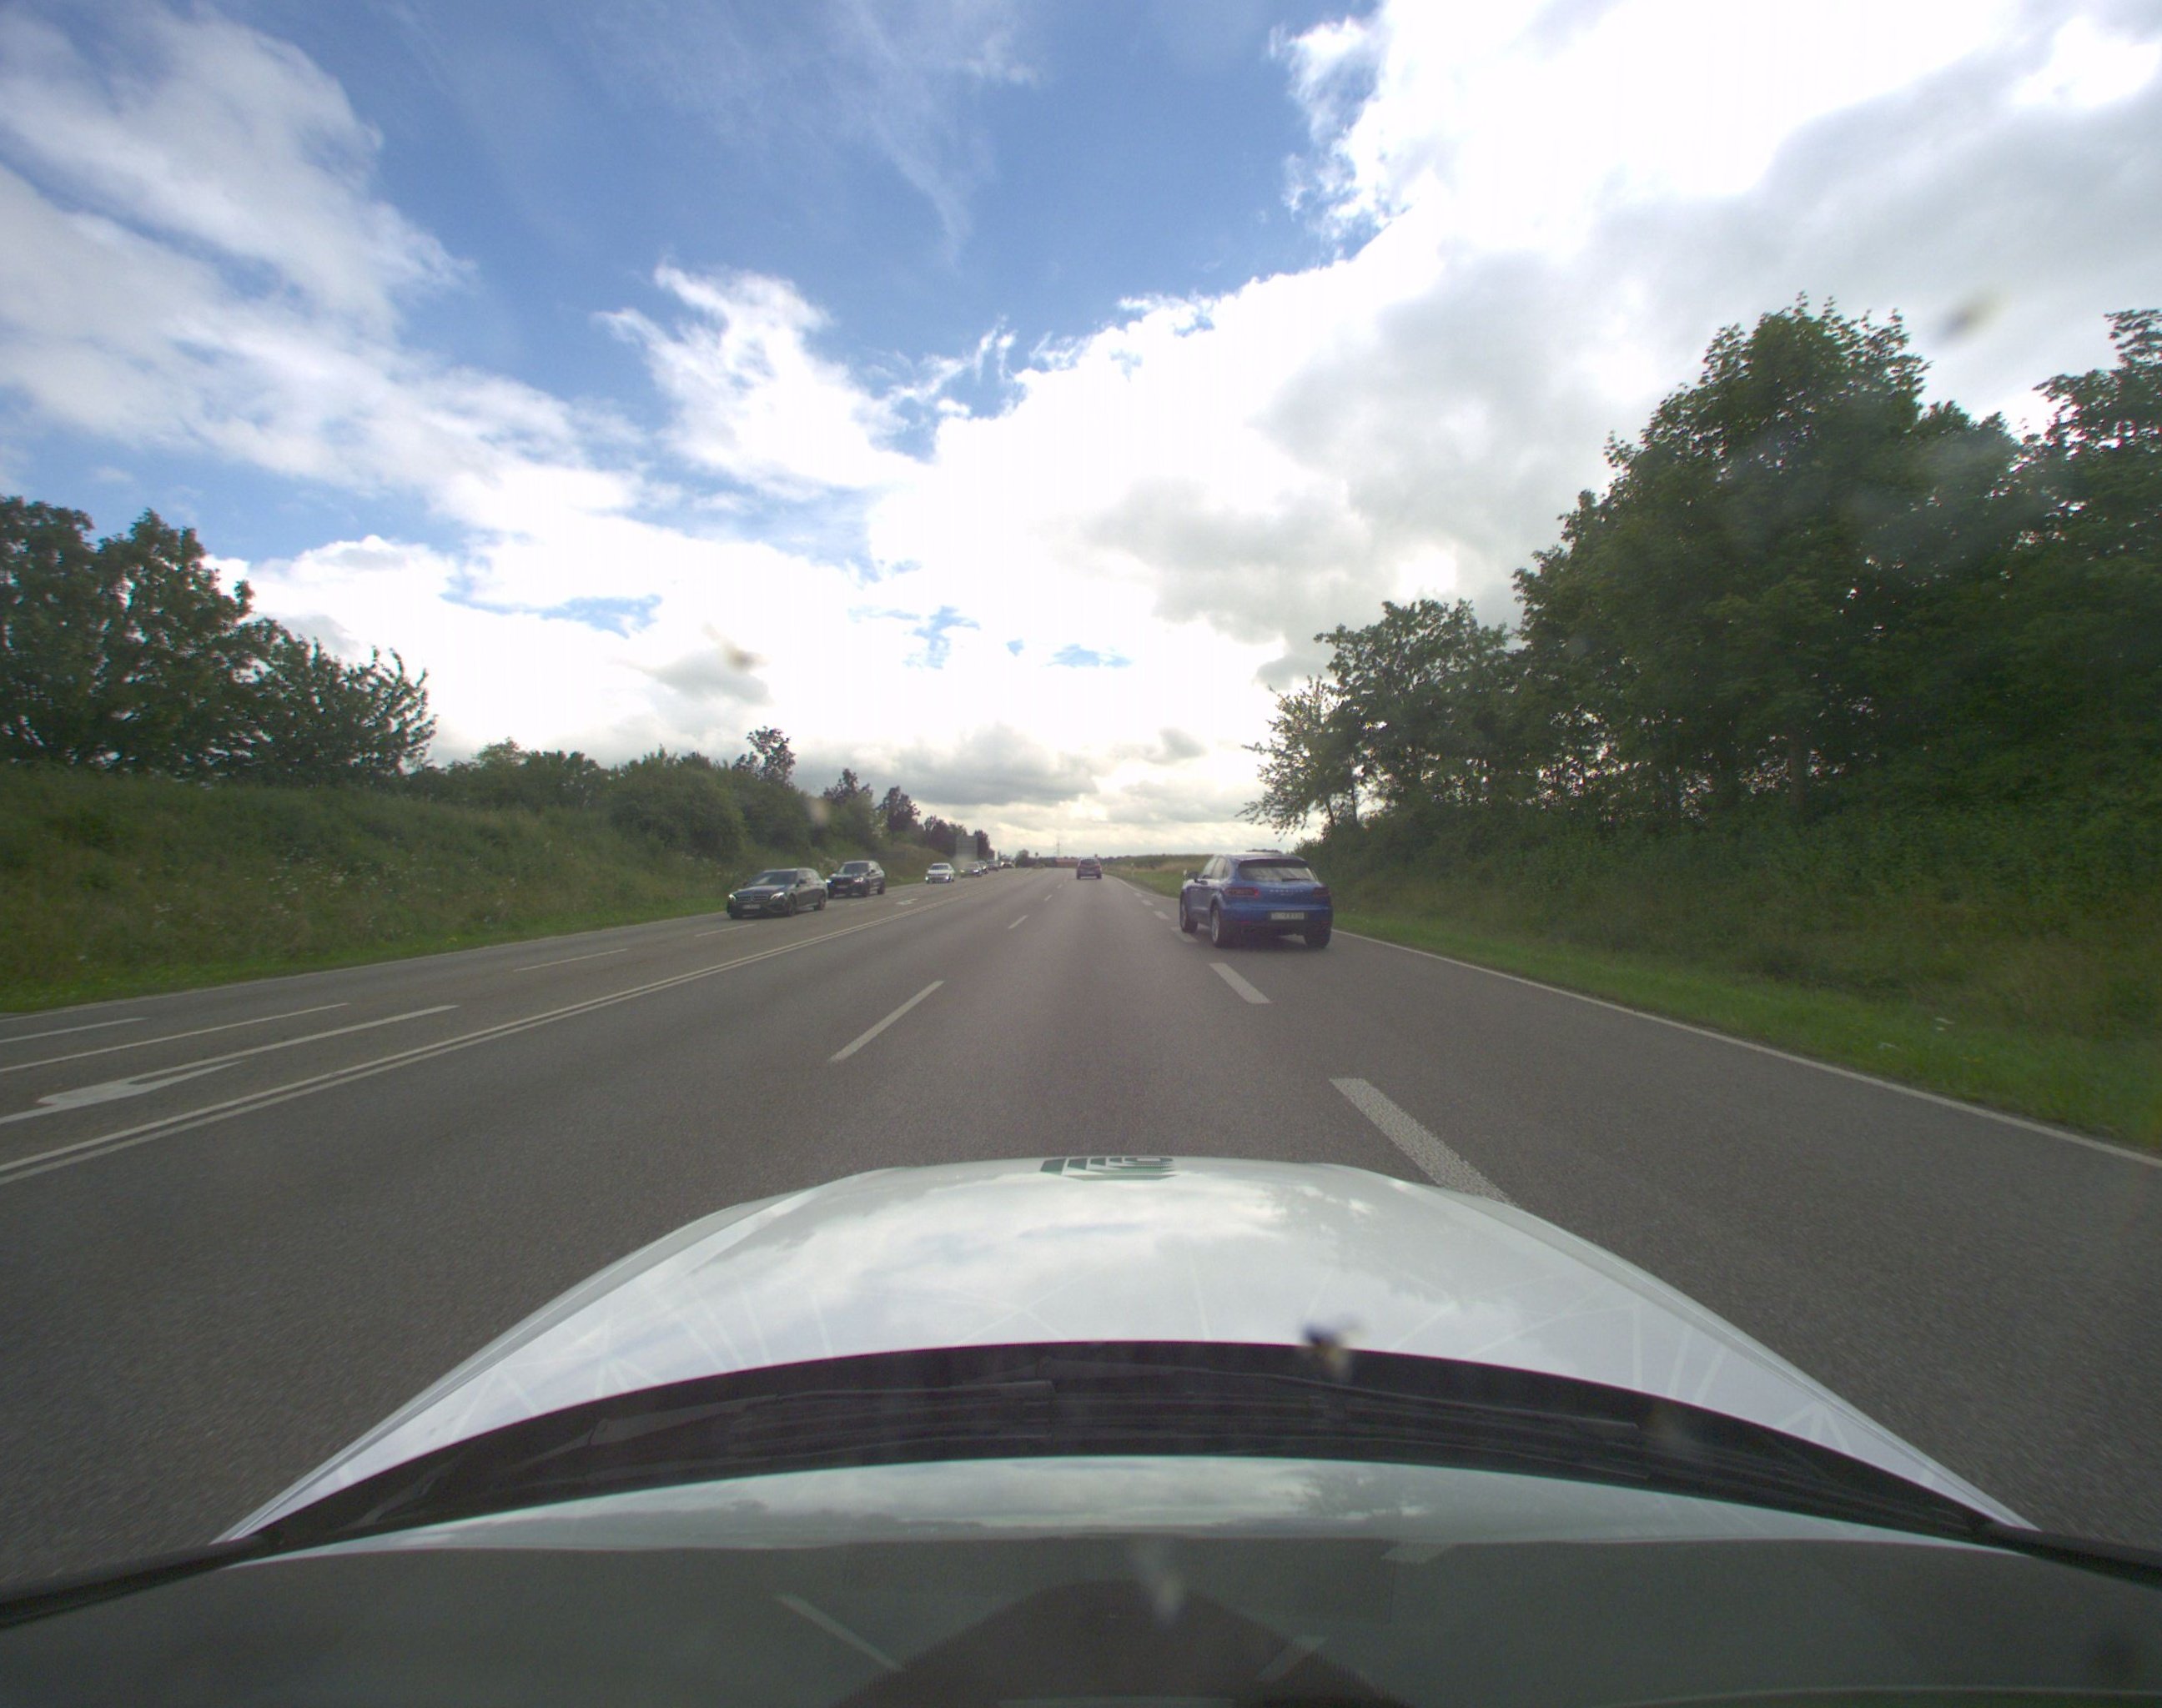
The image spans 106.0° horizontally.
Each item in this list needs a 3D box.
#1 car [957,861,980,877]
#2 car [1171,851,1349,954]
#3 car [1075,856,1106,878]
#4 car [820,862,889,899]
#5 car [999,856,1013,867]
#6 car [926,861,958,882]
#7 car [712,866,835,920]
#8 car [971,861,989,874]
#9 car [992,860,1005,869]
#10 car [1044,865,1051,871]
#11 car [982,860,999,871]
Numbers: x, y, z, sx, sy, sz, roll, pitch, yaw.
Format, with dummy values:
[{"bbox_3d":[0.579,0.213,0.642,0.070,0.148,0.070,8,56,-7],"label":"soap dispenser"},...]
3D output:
[{"bbox_3d":[-11.033,1.418,79.893,1.990,1.508,3.993,-1,0,-5],"label":"car"},{"bbox_3d":[3.093,0.779,15.208,1.989,1.570,4.750,-1,0,-3],"label":"car"},{"bbox_3d":[0.629,0.910,58.411,1.989,1.535,3.995,0,0,-3],"label":"car"},{"bbox_3d":[-10.801,1.213,39.174,1.988,1.610,4.989,-1,0,-1],"label":"car"},{"bbox_3d":[-15.229,1.545,165.544,2.358,2.211,5.917,-2,0,-2],"label":"car"},{"bbox_3d":[-10.470,1.293,61.528,1.662,1.442,4.146,-1,0,1],"label":"car"},{"bbox_3d":[-9.770,1.189,26.381,1.987,1.494,4.993,-1,0,1],"label":"car"},{"bbox_3d":[-12.056,1.594,97.010,1.792,1.486,4.163,-2,0,-3],"label":"car"},{"bbox_3d":[-14.522,1.841,144.047,1.989,1.491,3.995,-2,0,-3],"label":"car"},{"bbox_3d":[-10.655,4.470,261.404,1.987,1.715,3.999,-1,0,0],"label":"car"},{"bbox_3d":[-12.979,1.615,117.151,1.988,1.508,3.998,-1,0,-1],"label":"car"}]
